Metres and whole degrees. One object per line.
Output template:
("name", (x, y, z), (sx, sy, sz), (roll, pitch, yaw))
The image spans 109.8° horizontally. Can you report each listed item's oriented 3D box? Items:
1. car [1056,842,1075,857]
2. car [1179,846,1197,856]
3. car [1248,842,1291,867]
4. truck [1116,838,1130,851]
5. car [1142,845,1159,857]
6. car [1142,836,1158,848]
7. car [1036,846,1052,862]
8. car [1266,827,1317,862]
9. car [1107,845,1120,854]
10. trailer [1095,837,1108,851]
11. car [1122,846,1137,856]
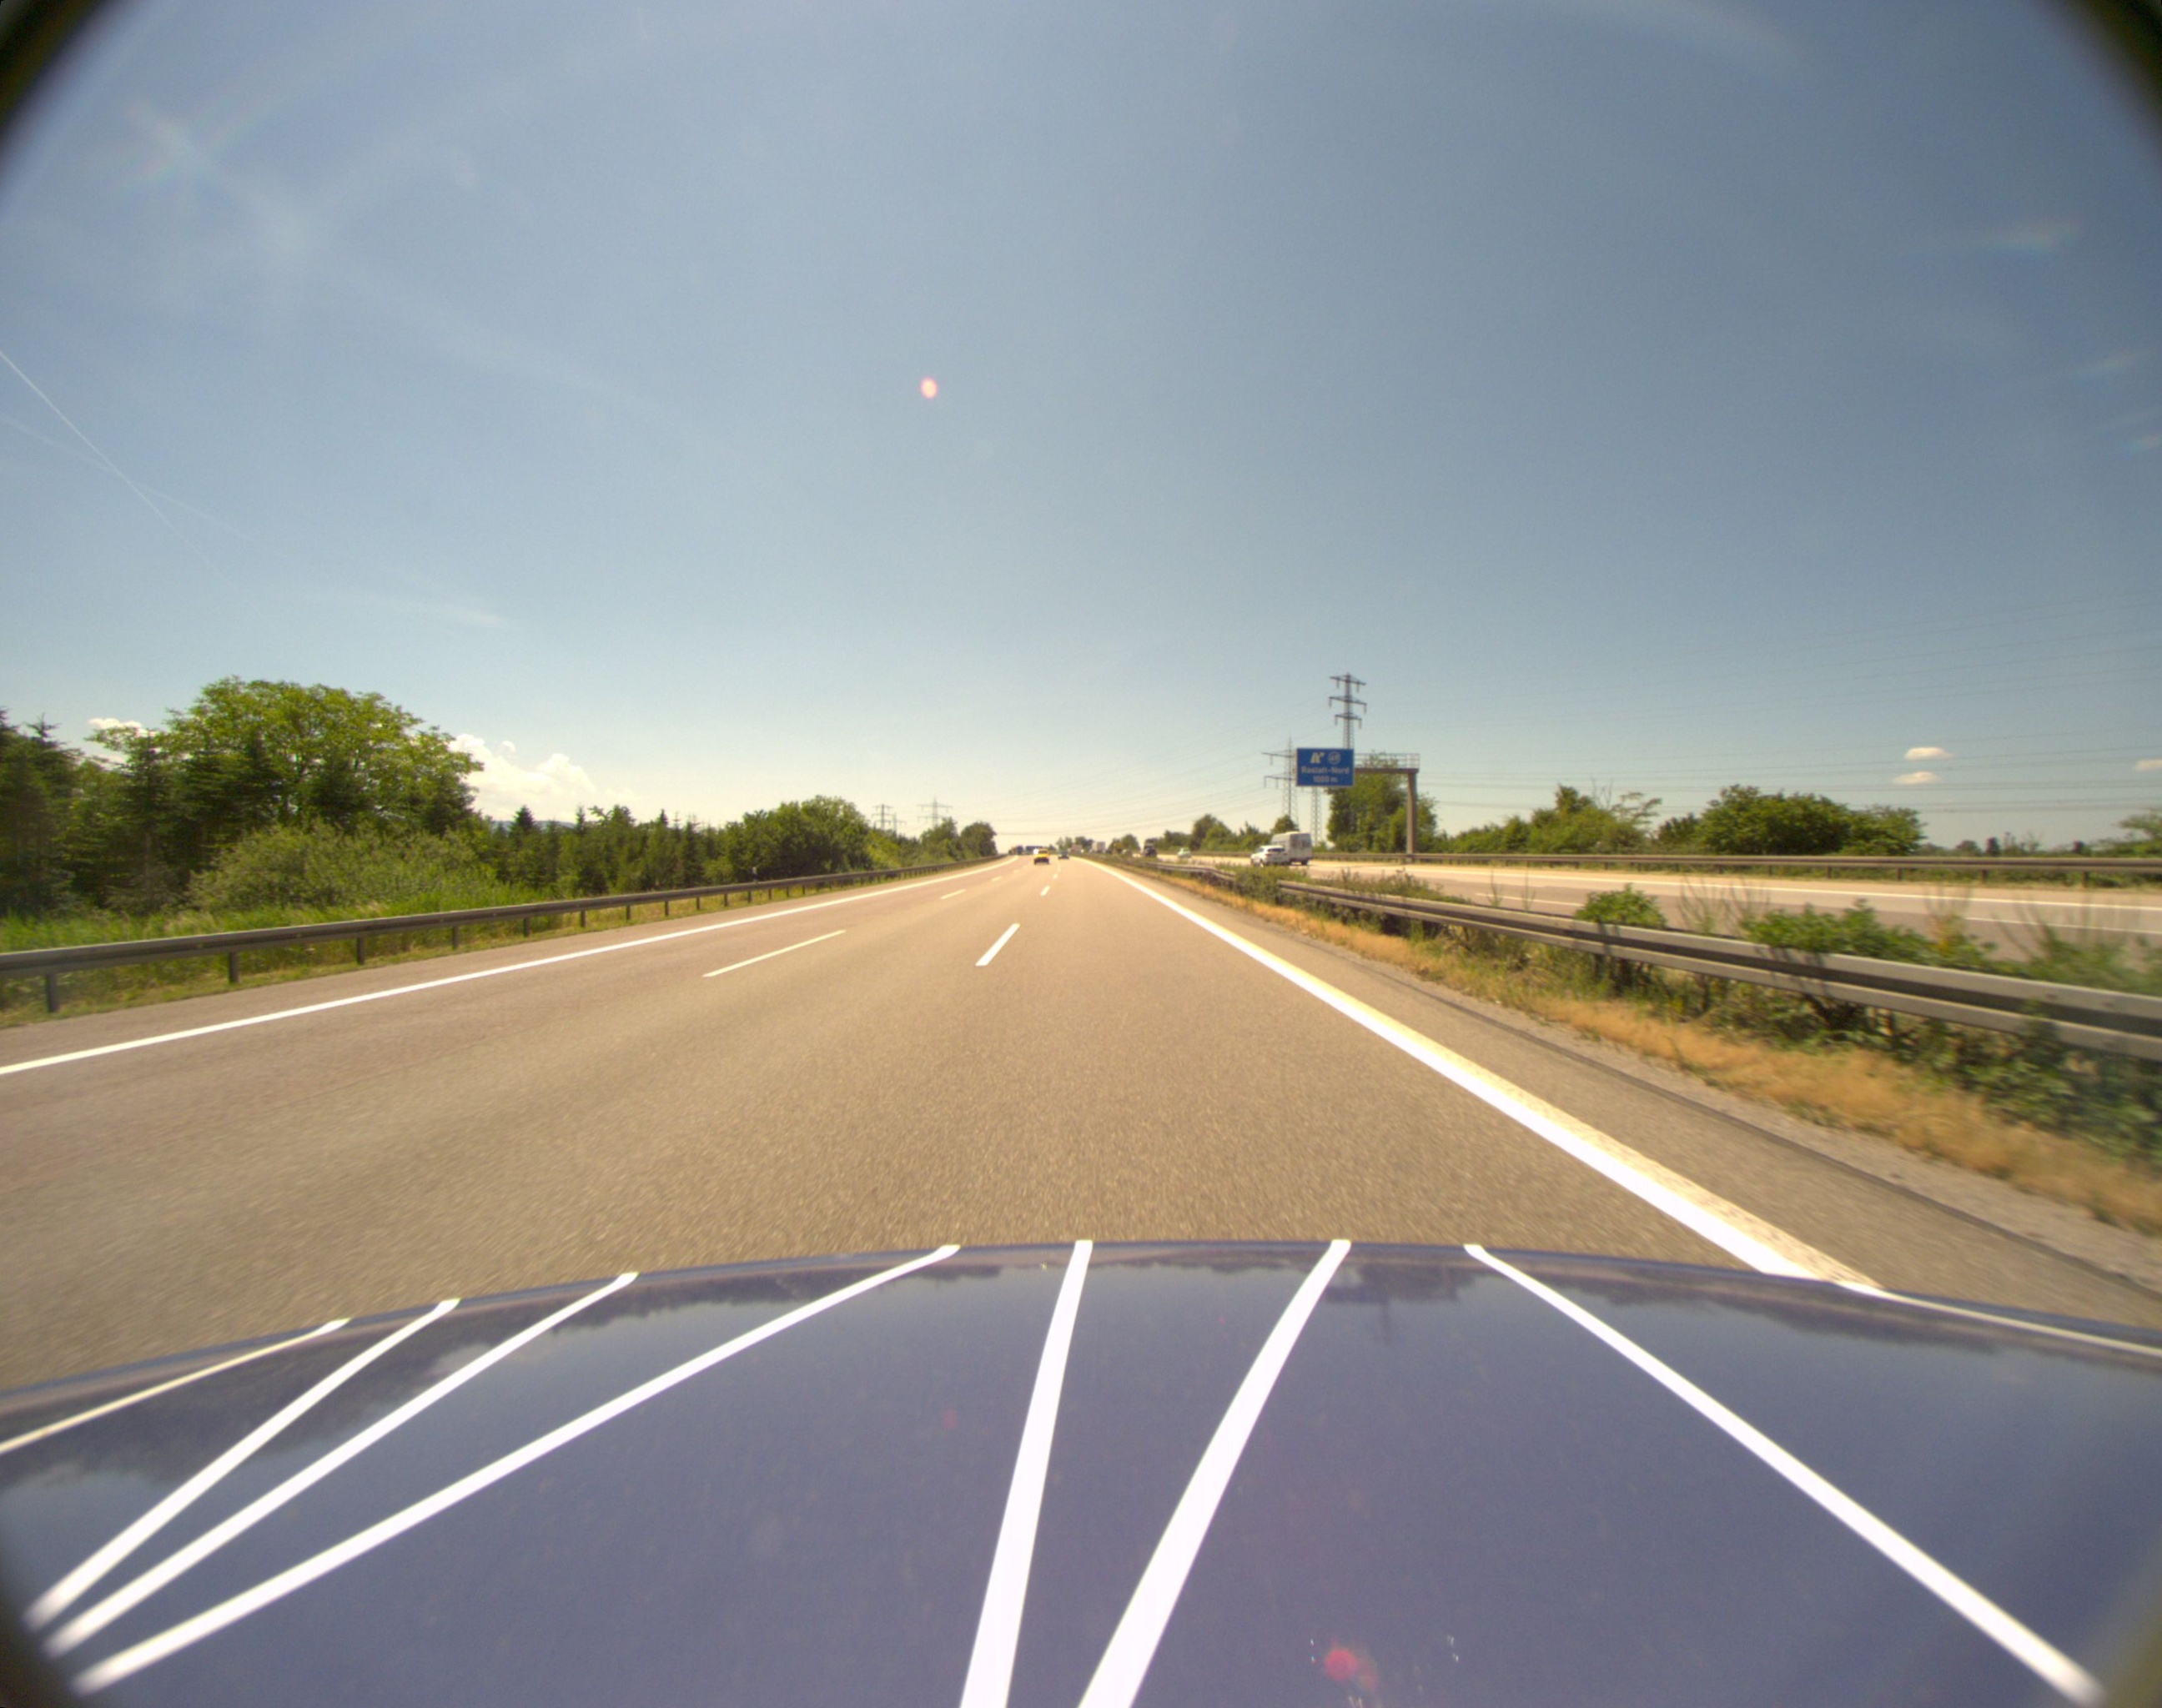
("car", (-2.734, -0.824, 132.579), (2.688, 2.509, 5.964), (0, -1, -7))
("car", (16.027, -0.456, 113.824), (1.999, 1.449, 4.087), (-2, 1, -1))
("car", (13.343, 0.022, 54.033), (1.792, 1.671, 4.900), (-2, 0, -1))
("truck", (10.934, -2.490, 197.553), (2.528, 3.134, 9.662), (-1, 1, -4))
("car", (10.779, -0.475, 117.380), (1.999, 1.688, 4.605), (-2, 1, -2))
("car", (14.069, -2.402, 155.050), (2.137, 2.463, 6.330), (-2, 1, -5))
("car", (-4.648, 0.039, 96.046), (1.956, 2.001, 5.432), (0, -1, -3))
("car", (17.142, -0.778, 62.422), (1.999, 2.670, 7.180), (-2, 1, -1))
("car", (6.258, -0.928, 147.593), (1.999, 1.688, 4.605), (-2, 1, -3))
("trailer", (6.852, -3.403, 251.125), (2.843, 4.232, 13.633), (-2, 0, -4))
("car", (7.620, -0.498, 119.279), (1.751, 1.458, 4.248), (-2, 1, -3))
